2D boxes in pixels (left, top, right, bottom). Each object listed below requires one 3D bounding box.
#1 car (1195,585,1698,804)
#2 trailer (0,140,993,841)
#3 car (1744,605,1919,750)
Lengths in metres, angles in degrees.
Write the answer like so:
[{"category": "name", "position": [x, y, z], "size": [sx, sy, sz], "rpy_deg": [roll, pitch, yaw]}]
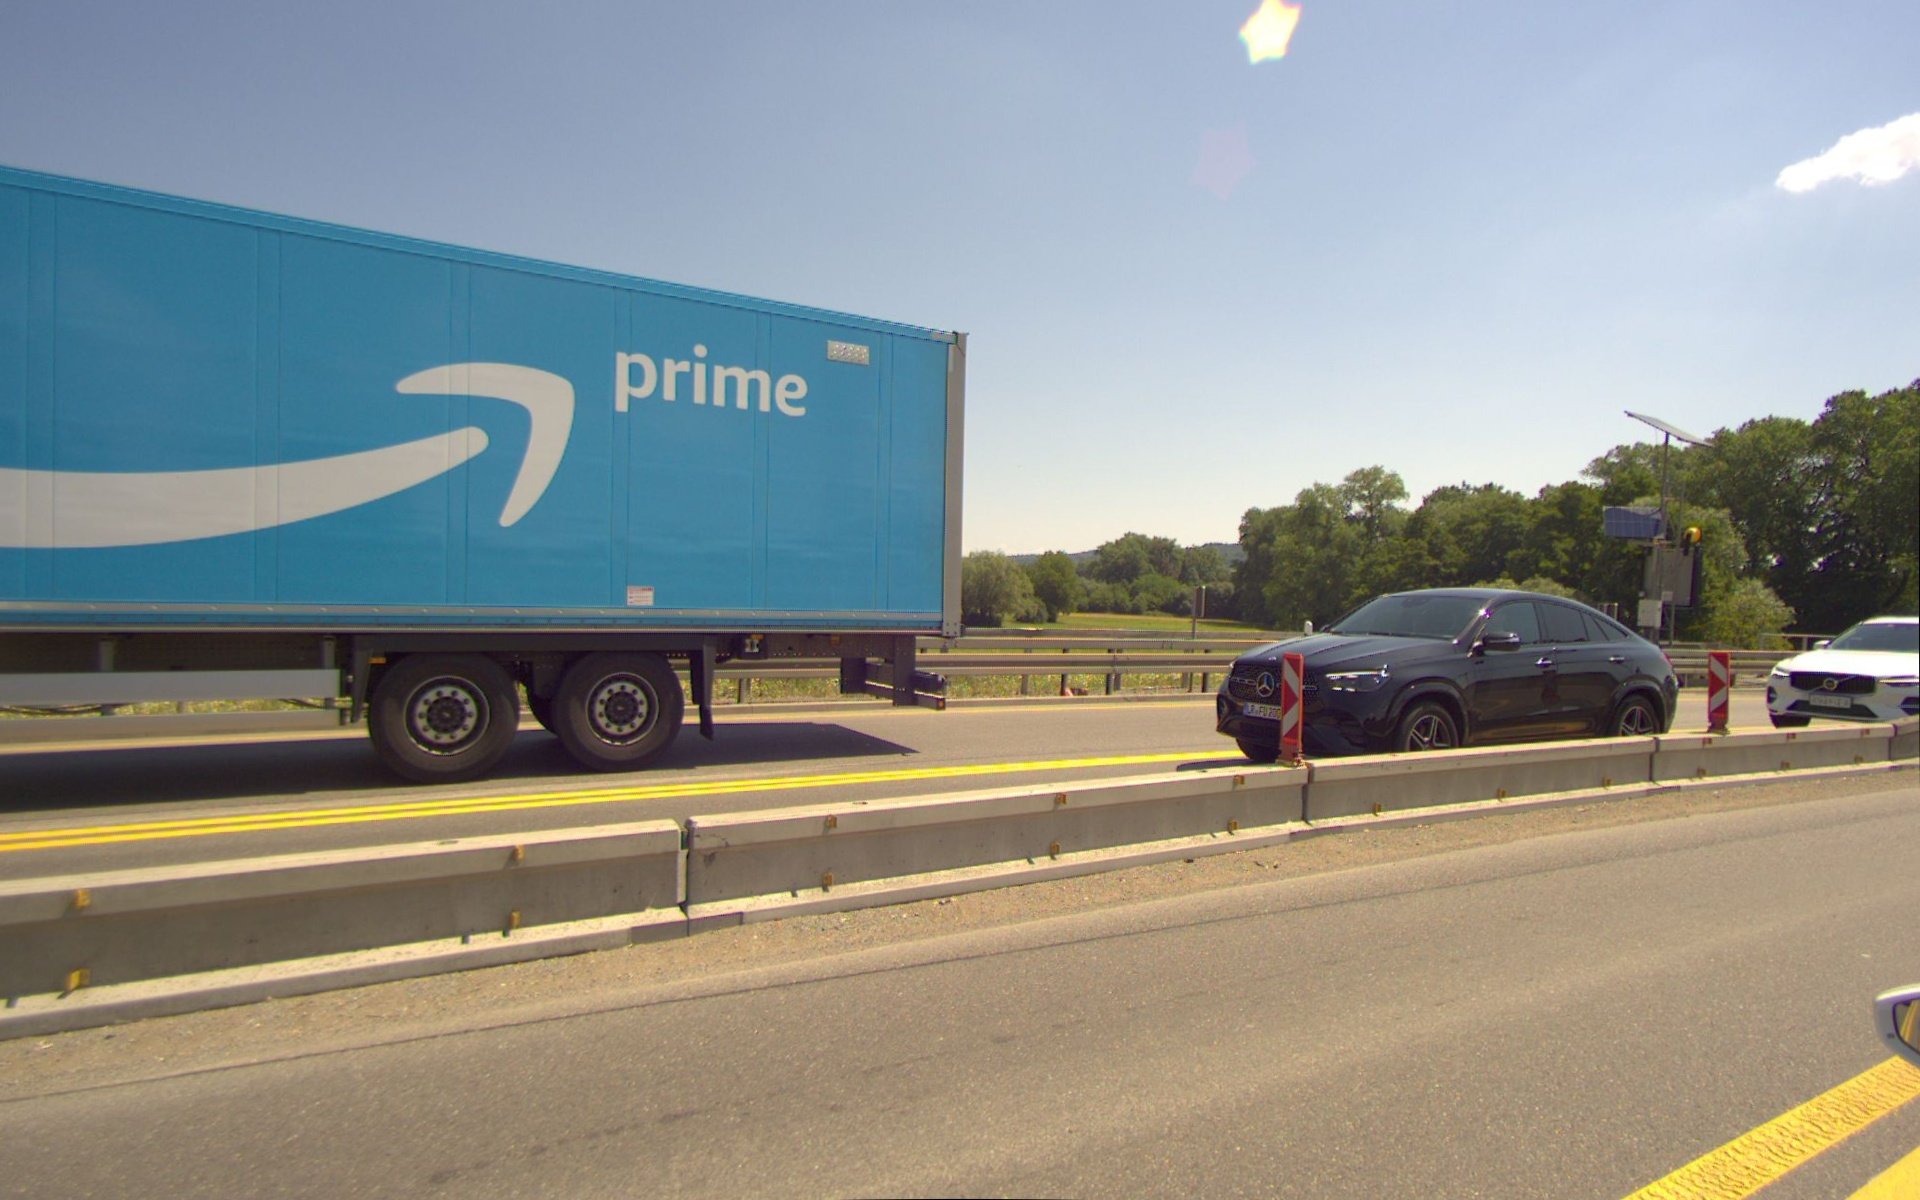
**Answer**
[{"category": "car", "position": [4.692, 0.734, 9.583], "size": [4.653, 1.669, 1.874], "rpy_deg": [1, 1, -27]}, {"category": "trailer", "position": [-6.121, -0.687, 7.679], "size": [13.149, 4.350, 2.635], "rpy_deg": [2, 1, -29]}, {"category": "car", "position": [13.129, 0.942, 13.821], "size": [4.507, 1.669, 1.815], "rpy_deg": [0, 1, -25]}]
